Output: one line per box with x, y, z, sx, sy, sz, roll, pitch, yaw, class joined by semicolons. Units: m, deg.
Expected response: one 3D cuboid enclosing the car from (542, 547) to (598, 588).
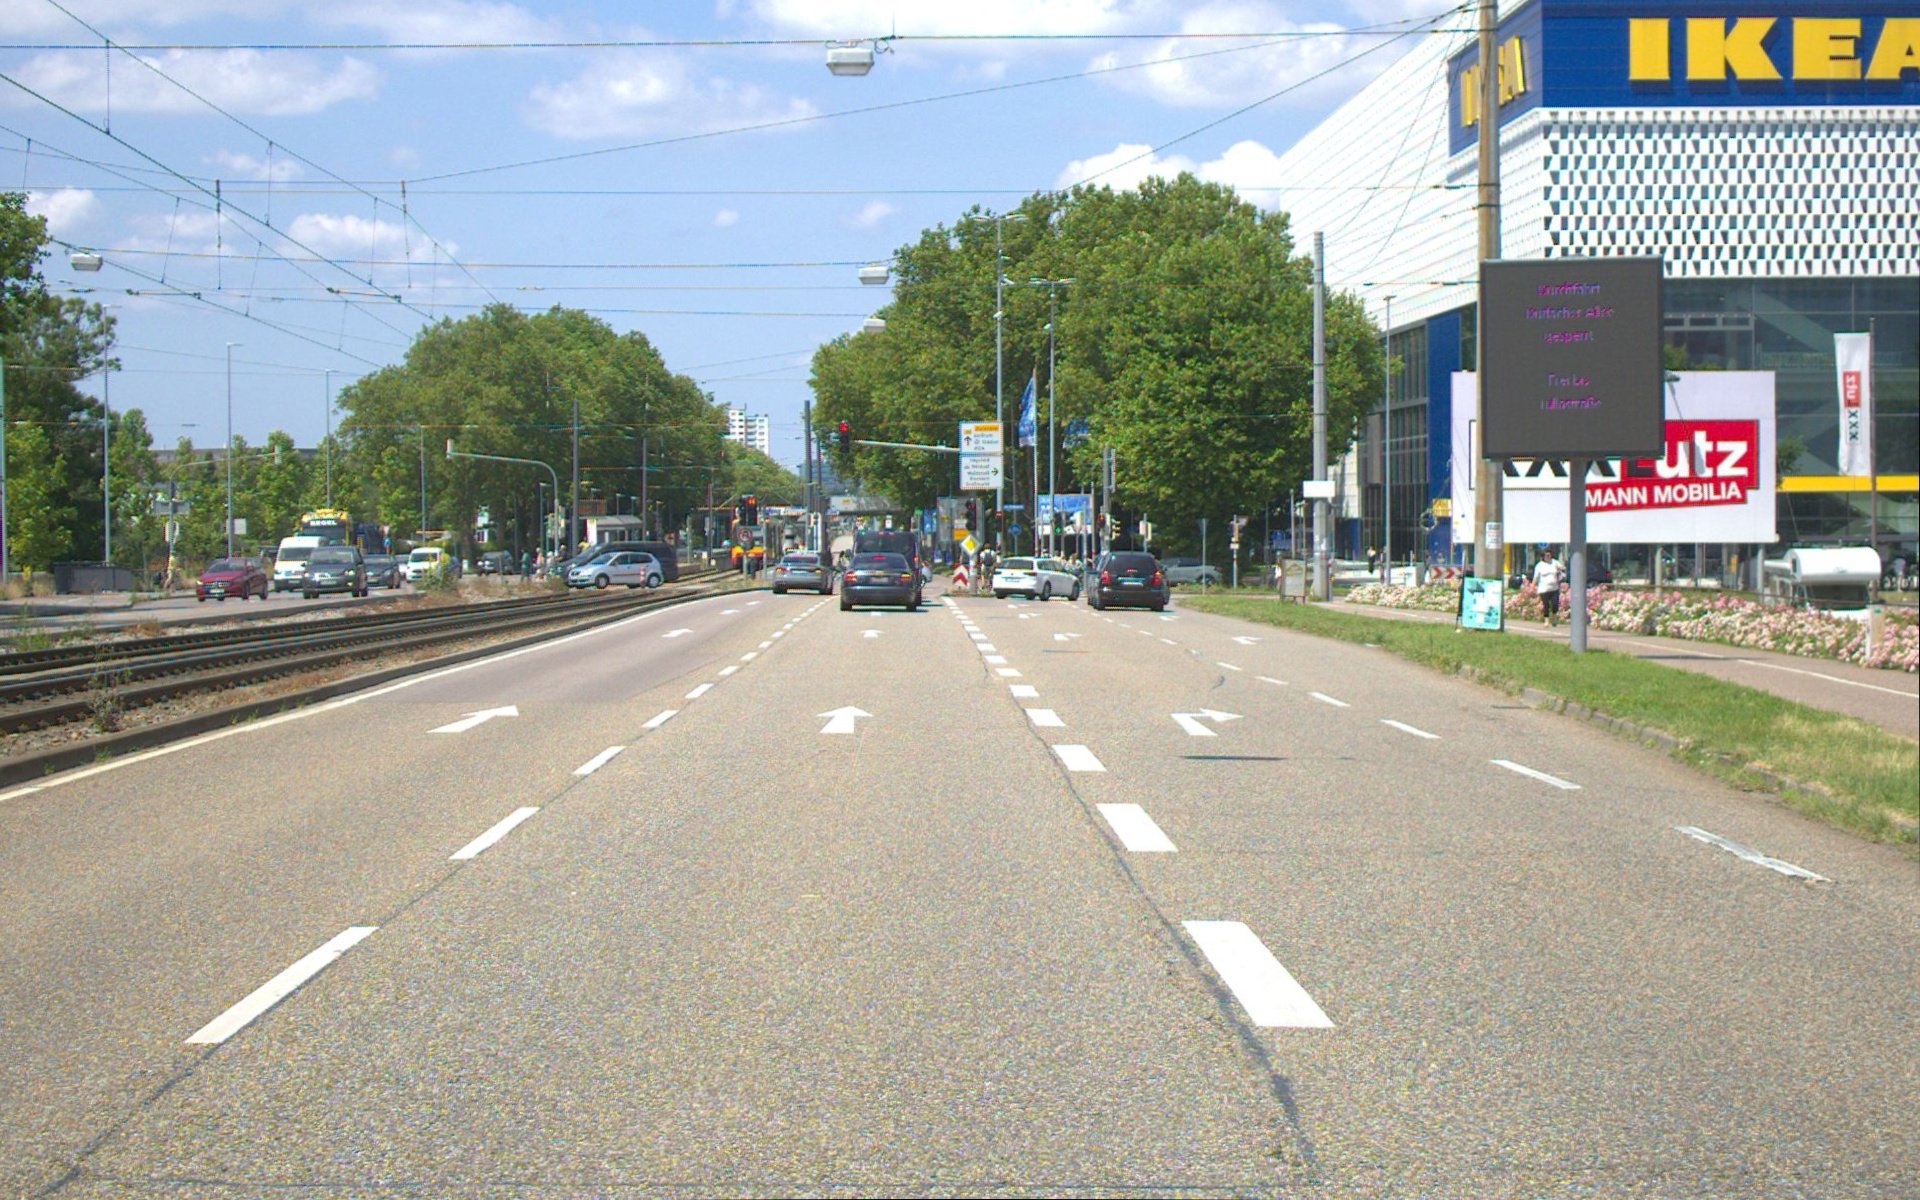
-15.530;-1.307;137.058;1.842;1.544;3.777;2;1;-1;car

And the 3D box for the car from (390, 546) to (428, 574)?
-31.312;-2.276;195.403;1.623;1.544;3.704;1;1;-1;car

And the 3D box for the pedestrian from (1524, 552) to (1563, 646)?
11.187;-0.021;65.931;0.580;1.786;0.590;1;1;-3;pedestrian

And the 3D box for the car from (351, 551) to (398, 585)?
-27.268;-1.505;160.138;1.623;1.544;3.704;1;1;-1;car

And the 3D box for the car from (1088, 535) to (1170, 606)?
4.484;-0.811;91.614;1.899;1.799;3.977;1;1;-1;car

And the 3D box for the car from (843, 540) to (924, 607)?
-1.873;-0.666;83.402;1.876;1.534;3.777;1;1;-2;car

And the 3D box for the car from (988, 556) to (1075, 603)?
2.460;-0.696;117.476;1.687;1.544;3.979;2;1;21;car

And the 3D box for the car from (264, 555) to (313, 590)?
-31.142;-1.301;159.436;1.623;1.544;3.704;1;1;-1;car

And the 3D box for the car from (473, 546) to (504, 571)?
-30.547;-2.695;222.855;1.623;1.544;3.704;1;1;-2;car

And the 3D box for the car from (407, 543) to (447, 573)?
-28.081;-2.205;181.185;1.623;1.544;3.704;1;1;-1;car

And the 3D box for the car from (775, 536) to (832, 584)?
-5.317;-1.360;116.726;1.842;1.544;3.777;2;1;-3;car

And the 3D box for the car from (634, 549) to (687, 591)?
-11.622;-1.181;133.563;1.842;1.544;3.777;2;1;-3;car

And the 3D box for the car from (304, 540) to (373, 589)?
-20.468;-1.179;113.318;1.623;1.544;3.984;2;1;-1;car

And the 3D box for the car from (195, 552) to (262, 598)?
-26.200;-0.907;123.211;1.623;1.544;3.984;1;1;-1;car
